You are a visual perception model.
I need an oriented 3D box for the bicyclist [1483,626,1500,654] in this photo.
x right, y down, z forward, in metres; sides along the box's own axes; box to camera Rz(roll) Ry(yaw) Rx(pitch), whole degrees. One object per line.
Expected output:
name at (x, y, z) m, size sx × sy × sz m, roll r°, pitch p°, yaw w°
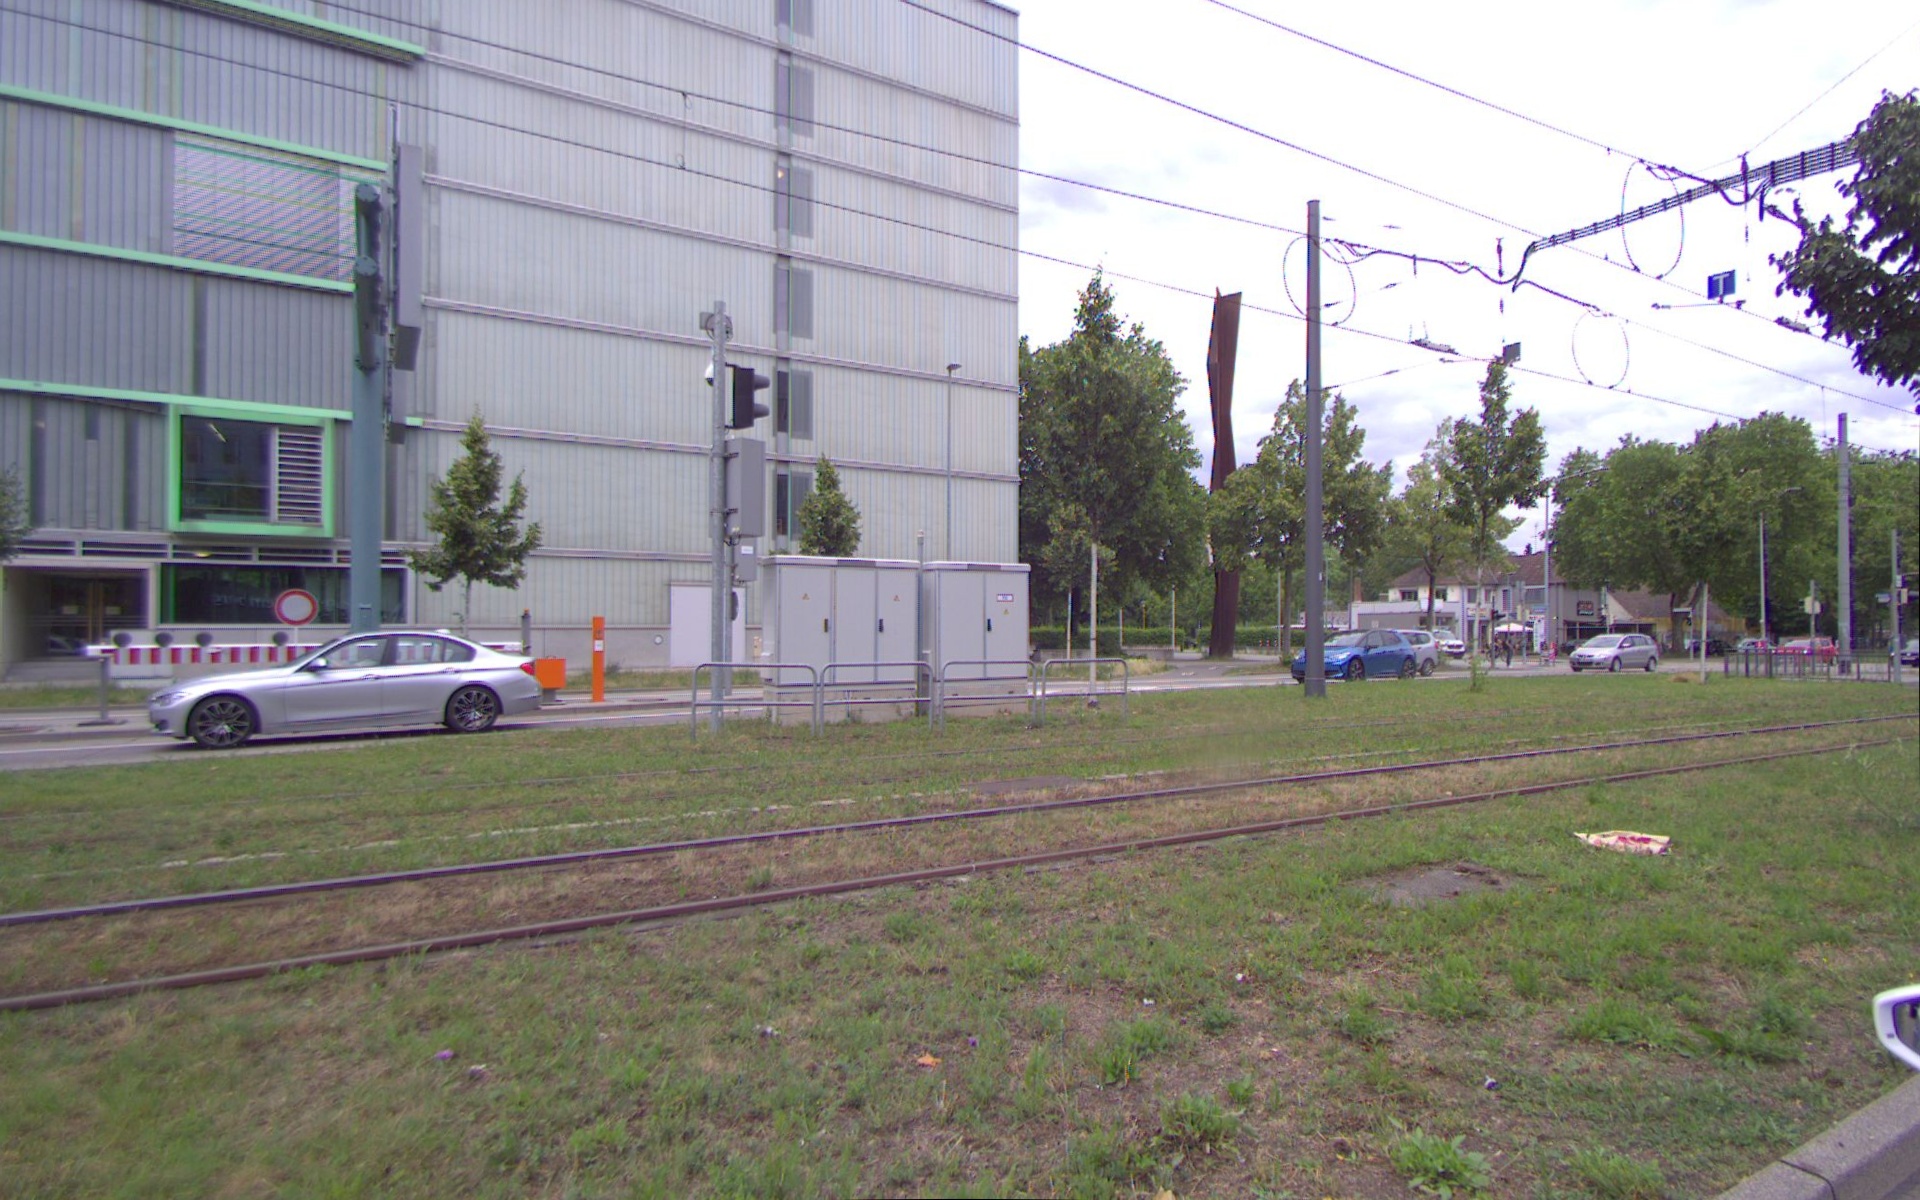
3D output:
bicyclist at (32.892, 2.475, 62.139) m, size 0.838 × 1.744 × 0.719 m, roll 0°, pitch -1°, yaw 34°

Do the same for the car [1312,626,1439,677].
car at (14.478, 1.785, 34.944) m, size 4.529 × 1.591 × 1.786 m, roll 2°, pitch 0°, yaw -32°

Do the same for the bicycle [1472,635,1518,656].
bicycle at (33.020, 2.804, 62.039) m, size 2.474 × 1.218 × 0.738 m, roll -1°, pitch -1°, yaw 35°

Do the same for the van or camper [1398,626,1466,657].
van or camper at (32.398, 2.840, 69.185) m, size 2.416 × 2.040 × 5.283 m, roll 0°, pitch -1°, yaw 2°

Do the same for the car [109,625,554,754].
car at (-8.279, 1.109, 13.691) m, size 4.872 × 1.464 × 1.717 m, roll 1°, pitch -3°, yaw -35°

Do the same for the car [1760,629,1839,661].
car at (43.889, 2.326, 52.486) m, size 4.275 × 1.591 × 1.788 m, roll 1°, pitch -1°, yaw -29°

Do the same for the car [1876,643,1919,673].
car at (48.136, 2.893, 50.616) m, size 4.692 × 1.445 × 1.655 m, roll 1°, pitch -3°, yaw -32°

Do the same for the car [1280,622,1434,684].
car at (11.422, 1.456, 28.762) m, size 4.644 × 1.609 × 1.950 m, roll 1°, pitch -1°, yaw -36°

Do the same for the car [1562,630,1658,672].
car at (27.820, 2.145, 42.960) m, size 4.623 × 1.665 × 1.711 m, roll 1°, pitch -2°, yaw -33°

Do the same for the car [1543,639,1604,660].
car at (54.951, 4.414, 90.094) m, size 2.078 × 1.840 × 4.268 m, roll 1°, pitch -1°, yaw -25°

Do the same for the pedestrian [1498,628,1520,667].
pedestrian at (26.892, 2.328, 49.207) m, size 0.769 × 1.856 × 0.771 m, roll -1°, pitch -1°, yaw 43°

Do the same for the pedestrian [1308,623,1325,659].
pedestrian at (20.318, 2.330, 57.284) m, size 0.887 × 2.040 × 0.954 m, roll 0°, pitch -1°, yaw 18°
